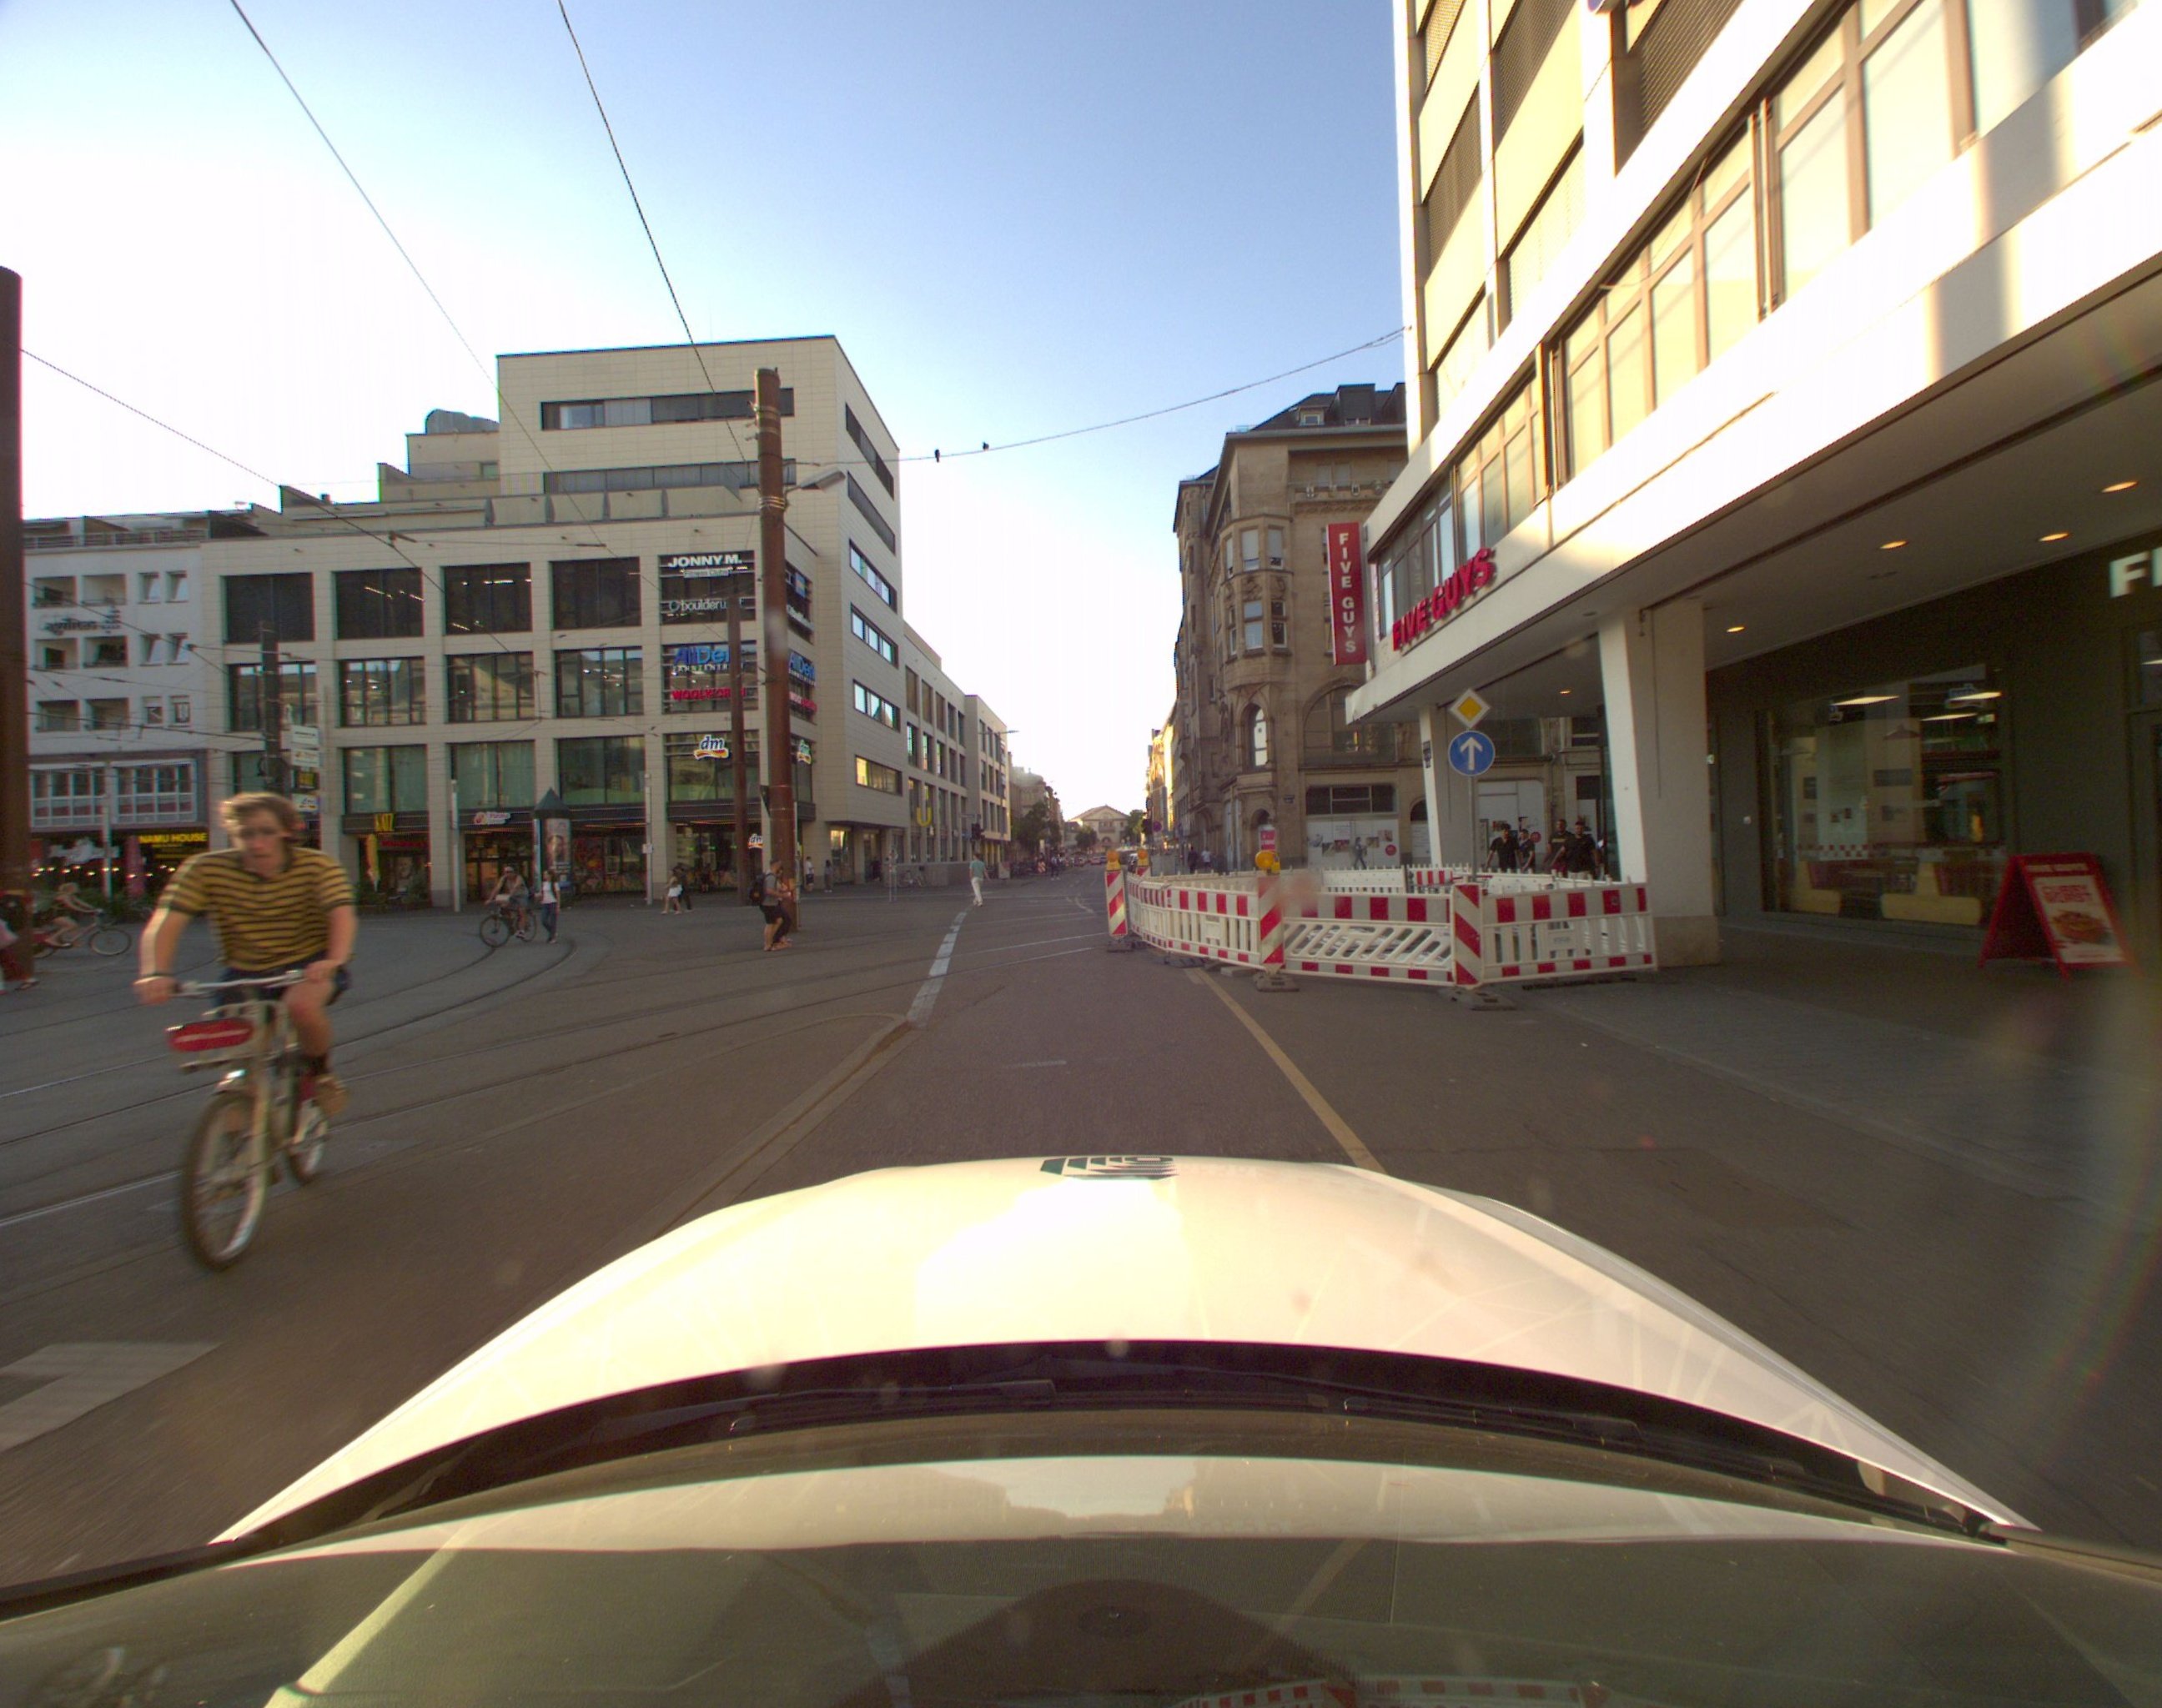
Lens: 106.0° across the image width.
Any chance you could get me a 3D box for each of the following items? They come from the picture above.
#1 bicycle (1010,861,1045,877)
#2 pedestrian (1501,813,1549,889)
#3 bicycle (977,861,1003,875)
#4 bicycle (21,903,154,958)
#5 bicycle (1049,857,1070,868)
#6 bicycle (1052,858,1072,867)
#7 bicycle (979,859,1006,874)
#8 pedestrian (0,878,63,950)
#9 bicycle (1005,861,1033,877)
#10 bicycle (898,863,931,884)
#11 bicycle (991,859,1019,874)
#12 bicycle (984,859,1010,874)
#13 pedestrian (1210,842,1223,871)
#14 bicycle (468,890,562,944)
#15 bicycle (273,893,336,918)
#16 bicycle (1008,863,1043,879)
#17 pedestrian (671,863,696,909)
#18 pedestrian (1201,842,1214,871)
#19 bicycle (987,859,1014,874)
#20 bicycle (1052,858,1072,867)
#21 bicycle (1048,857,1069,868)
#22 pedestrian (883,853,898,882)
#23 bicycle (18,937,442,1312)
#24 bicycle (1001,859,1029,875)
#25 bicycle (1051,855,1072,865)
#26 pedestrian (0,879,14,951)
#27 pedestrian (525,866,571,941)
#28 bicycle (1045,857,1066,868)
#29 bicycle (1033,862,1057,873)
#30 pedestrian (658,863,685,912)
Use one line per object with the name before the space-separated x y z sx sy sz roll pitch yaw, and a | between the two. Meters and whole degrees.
bicycle | -4.577 1.251 70.152 2.900 1.255 0.798 -2 0 -24
pedestrian | 10.525 -0.066 19.325 0.721 1.769 0.668 -1 0 -11
bicycle | -7.227 1.117 64.556 1.977 1.122 0.553 -1 0 -26
bicycle | -23.387 1.784 19.227 0.692 1.115 1.930 -1 -1 45
bicycle | -2.272 0.914 87.066 2.138 1.029 0.641 -2 0 4
bicycle | -2.131 0.956 92.474 2.138 1.029 0.641 -2 0 4
bicycle | -6.921 0.982 63.610 1.977 1.122 0.553 -1 0 -26
pedestrian | -25.342 1.430 19.655 0.525 1.674 0.756 -2 0 9
bicycle | -4.508 1.053 59.316 1.977 1.122 0.553 -1 0 -26
bicycle | -9.236 1.063 45.239 1.688 1.122 0.451 -1 0 4
bicycle | -5.759 0.964 61.689 1.977 1.122 0.553 -1 0 -26
bicycle | -6.497 0.975 62.989 1.977 1.122 0.553 -1 0 -26
pedestrian | 8.041 0.130 48.272 0.623 1.690 0.626 -2 0 1
bicycle | -12.986 1.417 18.752 0.570 1.098 2.026 -1 0 6
bicycle | -34.020 2.252 35.707 0.445 0.986 1.939 -1 0 38
bicycle | -4.879 1.444 71.284 2.900 1.255 0.798 -2 0 -24
pedestrian | -14.619 1.164 29.947 0.526 1.674 0.651 -2 0 3
pedestrian | 7.383 0.157 47.629 0.623 1.690 0.671 -2 0 1
bicycle | -6.130 0.970 62.346 1.977 1.122 0.553 -1 0 -26
bicycle | -2.112 0.955 91.746 2.138 1.029 0.641 -2 0 4
bicycle | -2.401 0.917 87.802 2.138 1.029 0.641 -2 0 4
pedestrian | -11.642 0.797 49.842 0.779 1.751 0.600 -1 0 0
bicycle | -3.560 0.999 3.621 0.630 1.103 1.614 -2 -1 -20
bicycle | -4.839 0.950 60.080 1.977 1.122 0.553 -1 0 -26
bicycle | -2.143 0.698 89.941 2.138 1.029 0.641 -2 0 4
pedestrian | -25.486 1.431 18.912 0.525 1.674 0.652 -2 0 9
pedestrian | -12.193 1.129 18.641 0.644 1.674 0.532 -2 0 11
bicycle | -2.656 0.918 86.289 2.138 1.029 0.641 -2 0 4
bicycle | -3.459 1.303 78.478 2.138 0.953 0.641 -2 0 4
pedestrian | -14.307 1.151 28.462 0.526 1.674 0.651 -2 0 4
